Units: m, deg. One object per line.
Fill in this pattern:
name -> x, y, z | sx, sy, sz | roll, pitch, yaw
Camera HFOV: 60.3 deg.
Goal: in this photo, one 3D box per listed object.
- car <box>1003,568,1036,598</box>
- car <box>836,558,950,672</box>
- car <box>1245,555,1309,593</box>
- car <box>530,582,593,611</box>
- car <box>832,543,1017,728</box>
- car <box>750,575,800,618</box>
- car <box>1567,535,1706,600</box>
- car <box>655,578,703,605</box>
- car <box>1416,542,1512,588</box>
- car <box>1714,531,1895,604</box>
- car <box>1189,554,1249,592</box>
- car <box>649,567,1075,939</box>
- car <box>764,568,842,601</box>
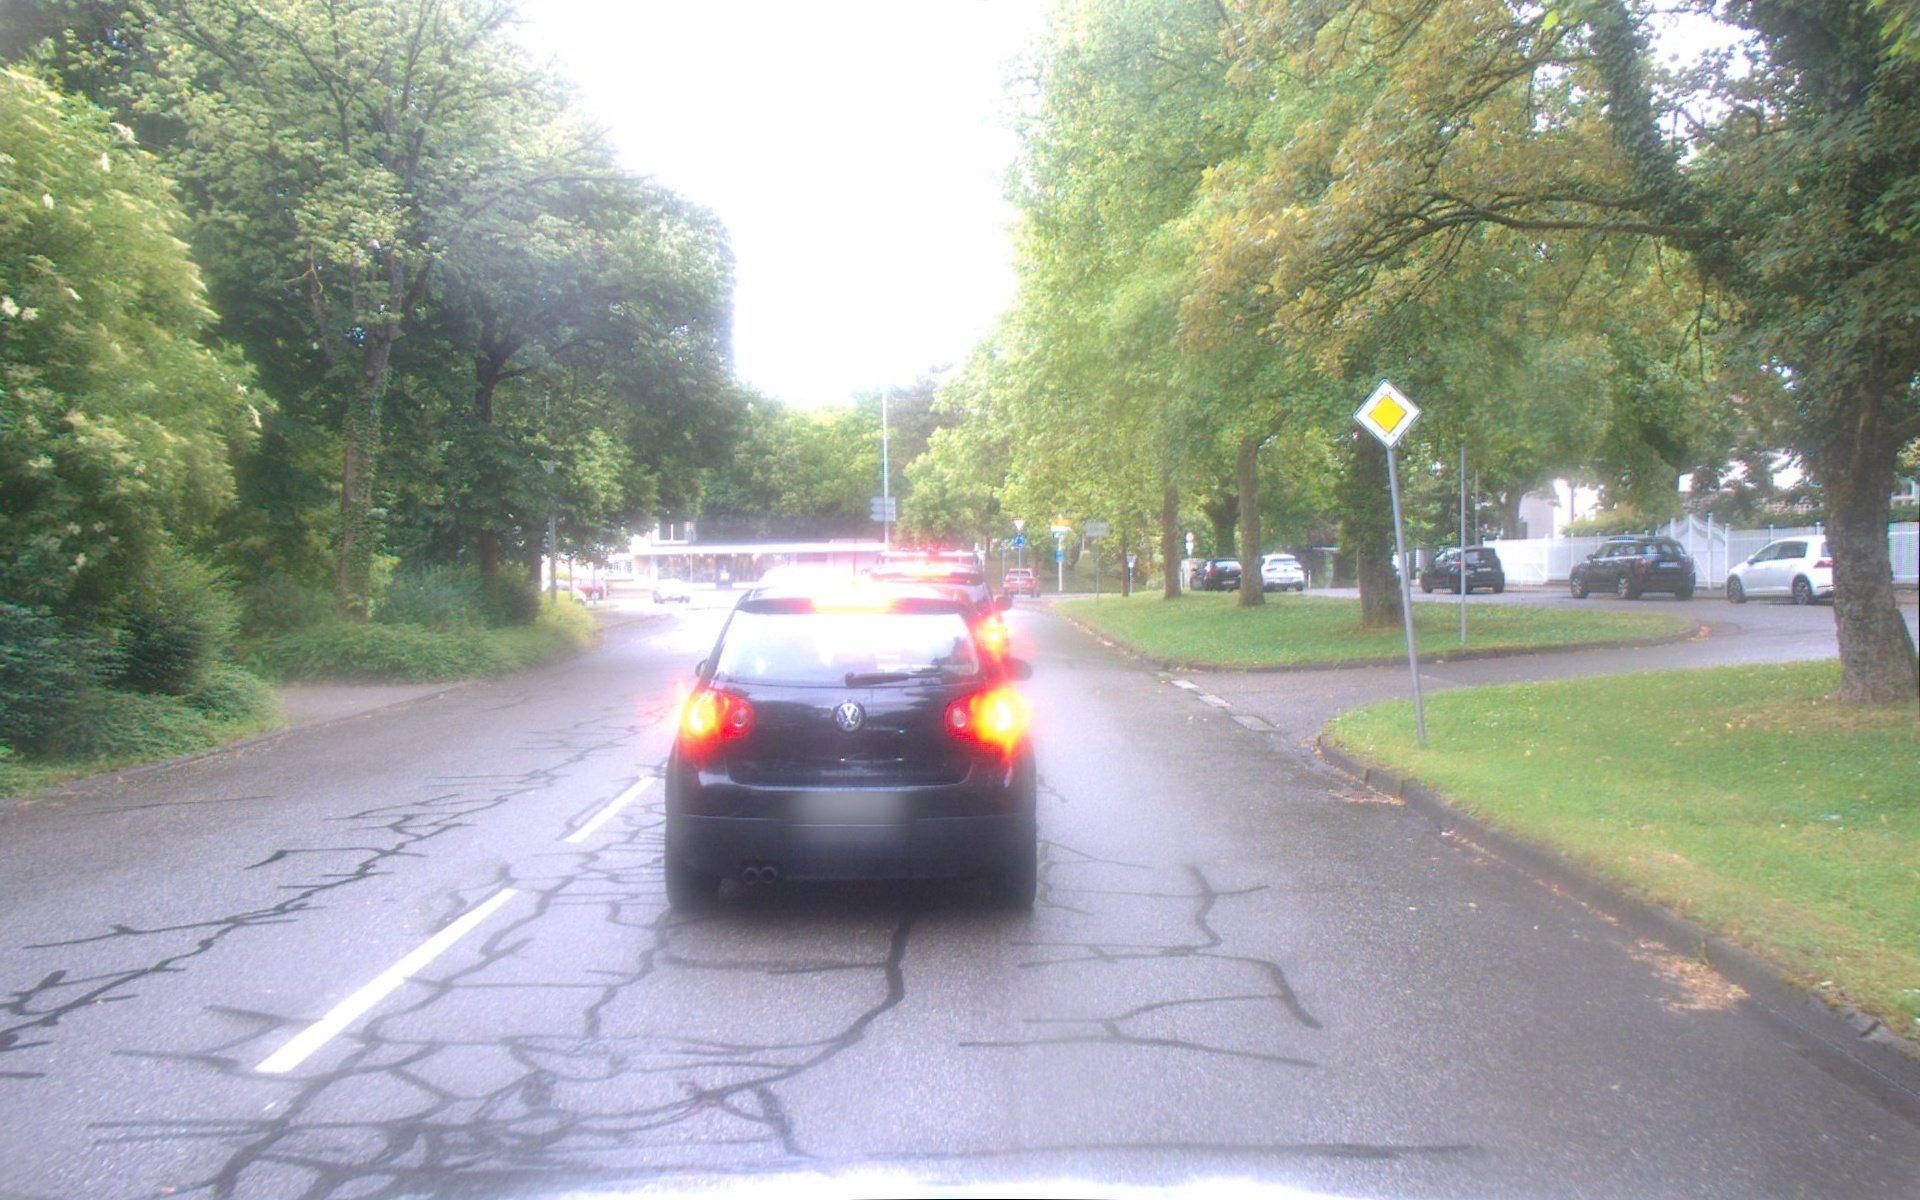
car -> 3.248, -0.922, 89.908 | 1.670, 1.539, 3.675 | -2, 1, 4
car -> -1.107, 0.230, 29.038 | 1.817, 1.816, 4.000 | -1, 0, 0
car -> 13.078, -1.100, 68.445 | 1.767, 1.430, 4.000 | -3, 1, -1
car -> -20.434, -0.195, 84.949 | 3.065, 1.333, 1.535 | -2, 1, -12
car -> -0.366, 0.324, 18.635 | 1.817, 1.815, 4.000 | -1, 1, 0
car -> -6.947, -0.159, 61.770 | 1.579, 1.452, 3.999 | -2, 2, -10
car -> 17.743, -0.882, 43.573 | 1.766, 1.556, 4.110 | -2, 2, -3
car -> -16.174, -0.479, 94.951 | 1.774, 1.417, 3.949 | -4, 1, -23
car -> 16.902, -1.193, 55.658 | 1.766, 1.436, 4.110 | -2, 2, -3
car -> 18.344, -0.727, 36.118 | 1.585, 1.434, 4.006 | -2, 2, -6
car -> 10.648, -1.122, 68.191 | 1.767, 1.409, 4.000 | -3, 1, -1
car -> -0.418, 0.606, 8.748 | 1.762, 1.541, 3.753 | 0, 1, 0
car -> -8.051, -0.797, 84.873 | 3.711, 1.646, 1.779 | 0, 1, 6
